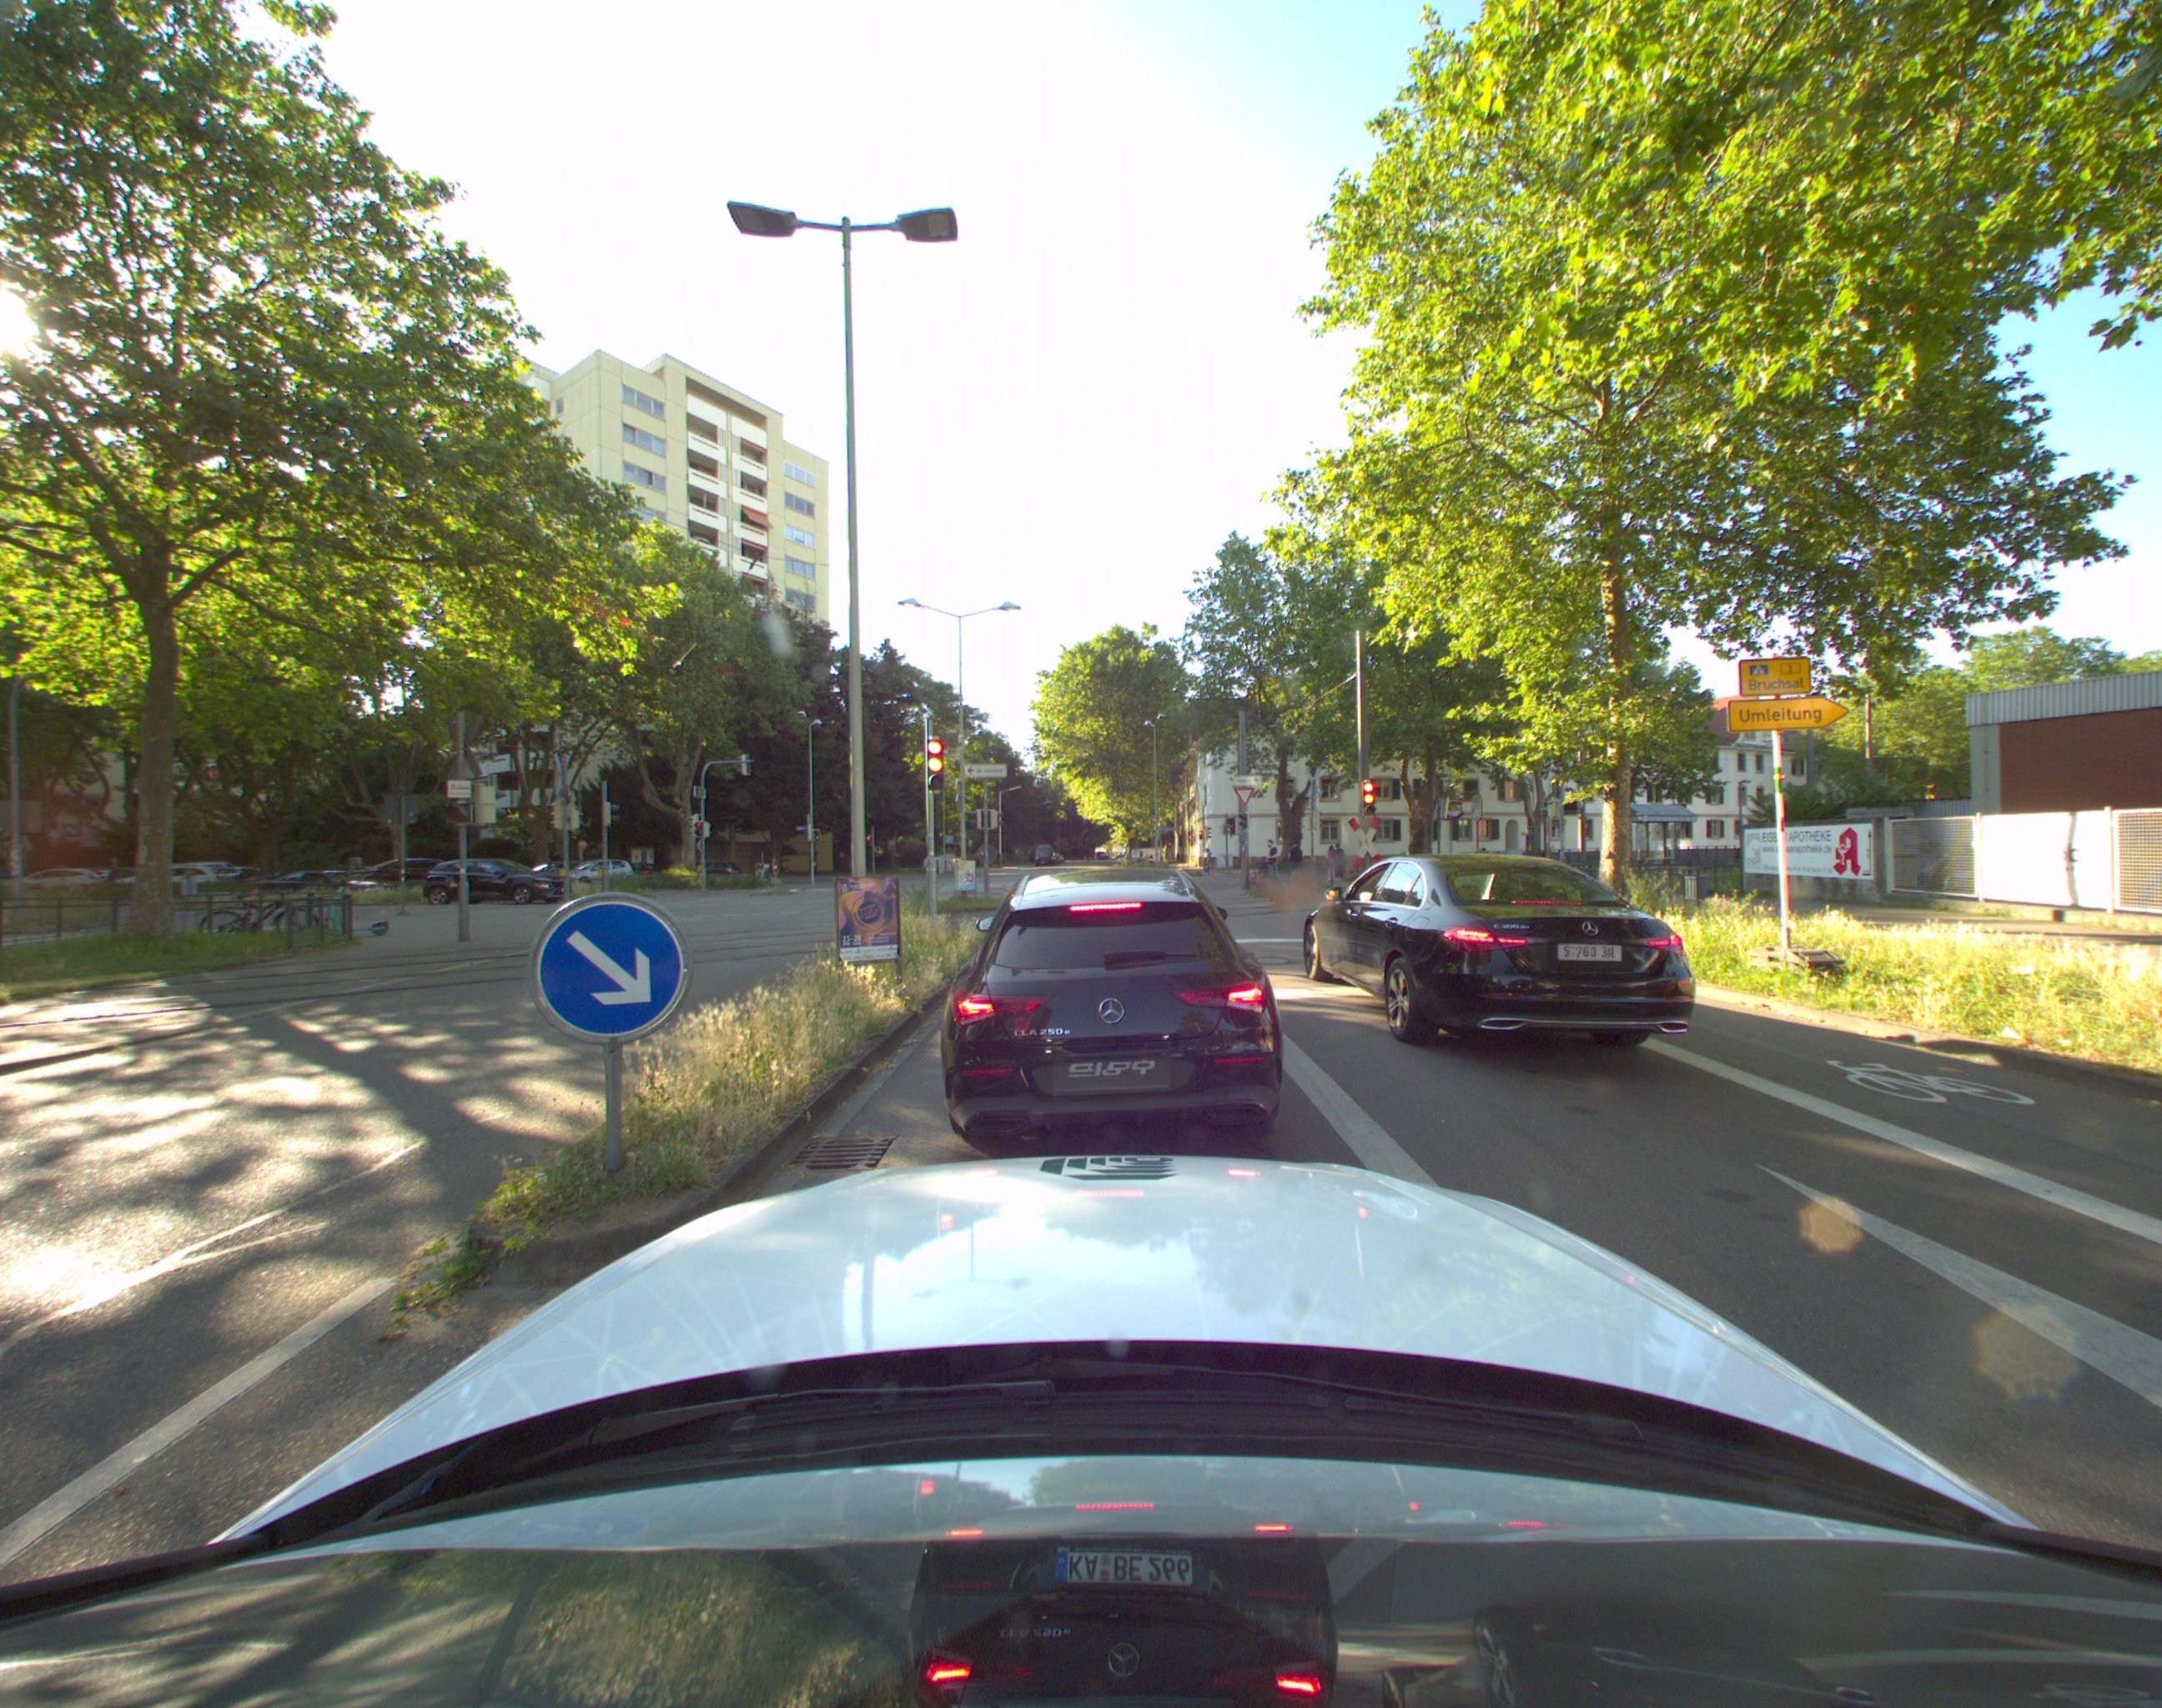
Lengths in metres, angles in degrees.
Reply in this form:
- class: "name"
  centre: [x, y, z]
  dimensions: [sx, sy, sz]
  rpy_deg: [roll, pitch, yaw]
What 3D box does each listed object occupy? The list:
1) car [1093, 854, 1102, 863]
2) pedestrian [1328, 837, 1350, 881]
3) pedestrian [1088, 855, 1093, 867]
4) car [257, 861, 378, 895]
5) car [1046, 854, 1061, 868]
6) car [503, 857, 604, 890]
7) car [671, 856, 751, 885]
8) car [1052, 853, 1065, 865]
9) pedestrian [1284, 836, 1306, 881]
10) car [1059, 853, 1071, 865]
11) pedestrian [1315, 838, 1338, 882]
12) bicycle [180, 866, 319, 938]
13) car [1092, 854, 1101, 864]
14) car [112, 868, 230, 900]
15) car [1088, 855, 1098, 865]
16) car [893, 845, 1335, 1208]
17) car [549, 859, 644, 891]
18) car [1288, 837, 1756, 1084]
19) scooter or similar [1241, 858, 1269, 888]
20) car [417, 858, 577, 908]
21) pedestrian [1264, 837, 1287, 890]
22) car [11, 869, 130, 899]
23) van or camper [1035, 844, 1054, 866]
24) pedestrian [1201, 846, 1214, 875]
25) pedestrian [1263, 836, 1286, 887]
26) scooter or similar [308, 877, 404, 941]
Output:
- class: "car"
  centre: [3.233, 0.899, 158.628]
  dimensions: [1.727, 1.765, 4.020]
  rpy_deg: [0, -1, 2]
- class: "pedestrian"
  centre: [11.570, 0.225, 36.544]
  dimensions: [0.703, 1.918, 0.838]
  rpy_deg: [0, -1, -2]
- class: "pedestrian"
  centre: [1.527, 1.049, 130.204]
  dimensions: [0.704, 1.918, 0.837]
  rpy_deg: [0, -1, -8]
- class: "car"
  centre: [-37.417, 1.134, 39.999]
  dimensions: [1.716, 1.596, 4.025]
  rpy_deg: [-1, -1, 32]
- class: "car"
  centre: [-3.671, 0.946, 110.049]
  dimensions: [1.727, 1.765, 4.343]
  rpy_deg: [0, -1, 2]
- class: "car"
  centre: [-27.223, 0.965, 42.163]
  dimensions: [1.716, 1.596, 4.025]
  rpy_deg: [-1, -1, 32]
- class: "car"
  centre: [-22.642, 1.002, 49.923]
  dimensions: [3.963, 1.774, 2.005]
  rpy_deg: [0, -1, 9]
- class: "car"
  centre: [-3.257, 0.758, 117.884]
  dimensions: [1.727, 1.765, 4.087]
  rpy_deg: [0, -1, 2]
- class: "pedestrian"
  centre: [9.267, 0.215, 35.241]
  dimensions: [0.703, 1.918, 0.838]
  rpy_deg: [0, -1, -2]
- class: "car"
  centre: [-2.482, 0.824, 126.680]
  dimensions: [1.727, 1.765, 3.972]
  rpy_deg: [0, -1, 2]
- class: "pedestrian"
  centre: [10.720, 0.253, 35.564]
  dimensions: [0.703, 1.918, 0.838]
  rpy_deg: [0, -1, -2]
- class: "bicycle"
  centre: [-15.954, 0.900, 15.672]
  dimensions: [1.845, 1.307, 0.380]
  rpy_deg: [0, -1, -26]
- class: "car"
  centre: [2.903, 0.978, 150.545]
  dimensions: [1.727, 1.765, 4.020]
  rpy_deg: [0, -1, 2]
- class: "car"
  centre: [-49.164, 1.575, 44.071]
  dimensions: [1.716, 1.596, 4.025]
  rpy_deg: [-1, -1, 32]
- class: "car"
  centre: [2.091, 1.005, 145.740]
  dimensions: [1.727, 1.765, 4.020]
  rpy_deg: [0, -1, 2]
- class: "car"
  centre: [0.248, 0.719, 5.488]
  dimensions: [1.881, 1.450, 4.004]
  rpy_deg: [0, 2, 3]
- class: "car"
  centre: [-24.927, 1.045, 42.029]
  dimensions: [1.716, 1.596, 3.831]
  rpy_deg: [-1, -1, 32]
- class: "car"
  centre: [3.324, 0.625, 7.311]
  dimensions: [1.883, 1.490, 4.382]
  rpy_deg: [0, 2, 1]
- class: "scooter or similar"
  centre: [6.492, 0.704, 30.483]
  dimensions: [0.826, 1.104, 0.808]
  rpy_deg: [0, -1, -4]
- class: "car"
  centre: [-19.461, 0.944, 27.281]
  dimensions: [3.981, 1.596, 1.735]
  rpy_deg: [0, -1, -5]
- class: "pedestrian"
  centre: [7.131, 0.338, 29.892]
  dimensions: [0.680, 1.918, 0.708]
  rpy_deg: [0, -1, 3]
- class: "car"
  centre: [-57.104, 1.652, 46.073]
  dimensions: [1.716, 1.596, 4.025]
  rpy_deg: [-1, -1, 32]
- class: "van or camper"
  centre: [-4.426, 0.124, 100.054]
  dimensions: [1.986, 2.541, 4.653]
  rpy_deg: [0, -1, 2]
- class: "pedestrian"
  centre: [8.370, 0.410, 54.007]
  dimensions: [0.703, 1.918, 0.838]
  rpy_deg: [0, -1, -2]
- class: "pedestrian"
  centre: [7.306, 0.291, 30.776]
  dimensions: [0.681, 1.918, 0.707]
  rpy_deg: [0, -1, -2]
- class: "scooter or similar"
  centre: [-15.094, 1.120, 16.985]
  dimensions: [0.408, 1.239, 1.450]
  rpy_deg: [-1, -1, 40]
